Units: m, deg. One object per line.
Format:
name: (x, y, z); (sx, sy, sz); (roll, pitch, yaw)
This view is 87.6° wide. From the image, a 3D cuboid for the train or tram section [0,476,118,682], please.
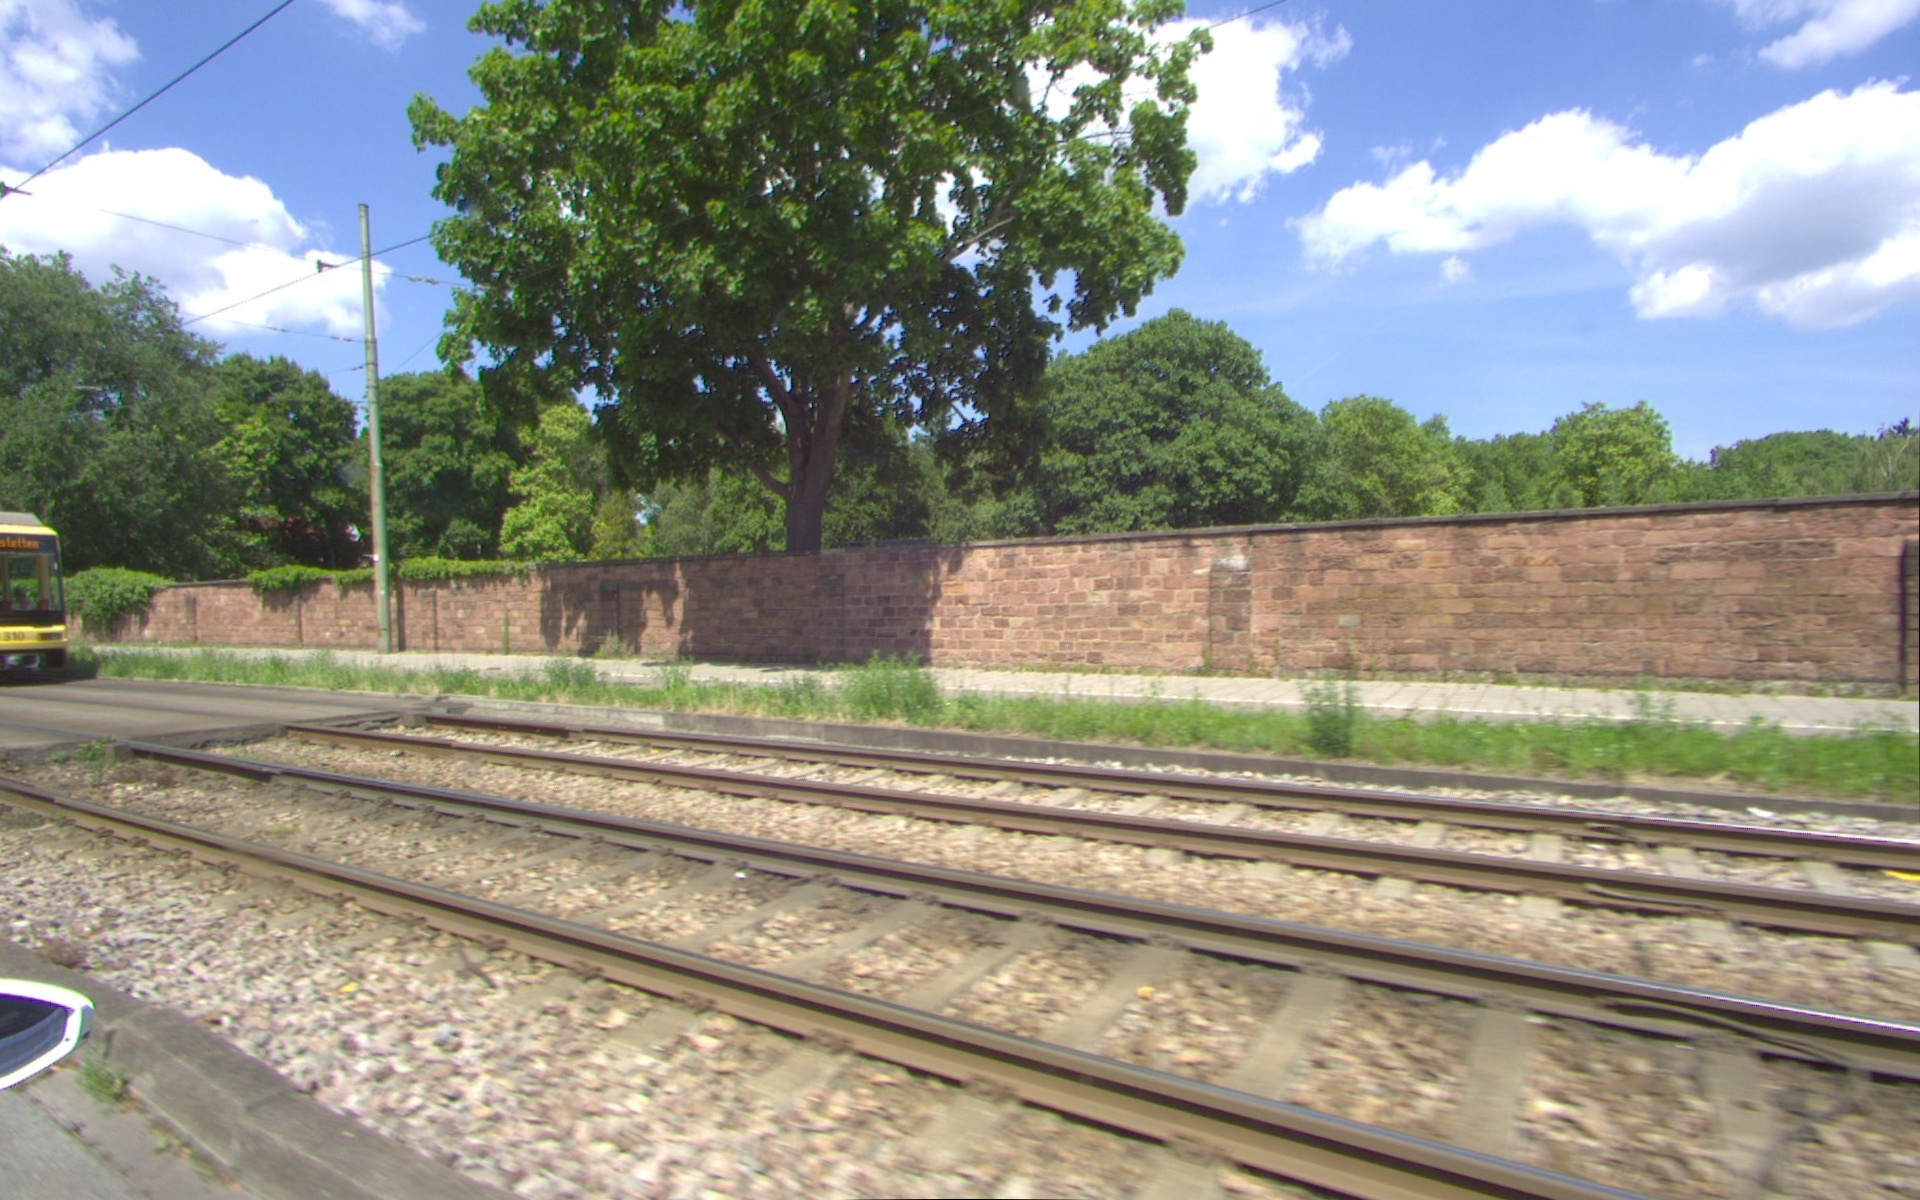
train or tram section: (-25.322, -0.356, 22.468); (18.094, 3.740, 2.943); (0, 0, 27)
